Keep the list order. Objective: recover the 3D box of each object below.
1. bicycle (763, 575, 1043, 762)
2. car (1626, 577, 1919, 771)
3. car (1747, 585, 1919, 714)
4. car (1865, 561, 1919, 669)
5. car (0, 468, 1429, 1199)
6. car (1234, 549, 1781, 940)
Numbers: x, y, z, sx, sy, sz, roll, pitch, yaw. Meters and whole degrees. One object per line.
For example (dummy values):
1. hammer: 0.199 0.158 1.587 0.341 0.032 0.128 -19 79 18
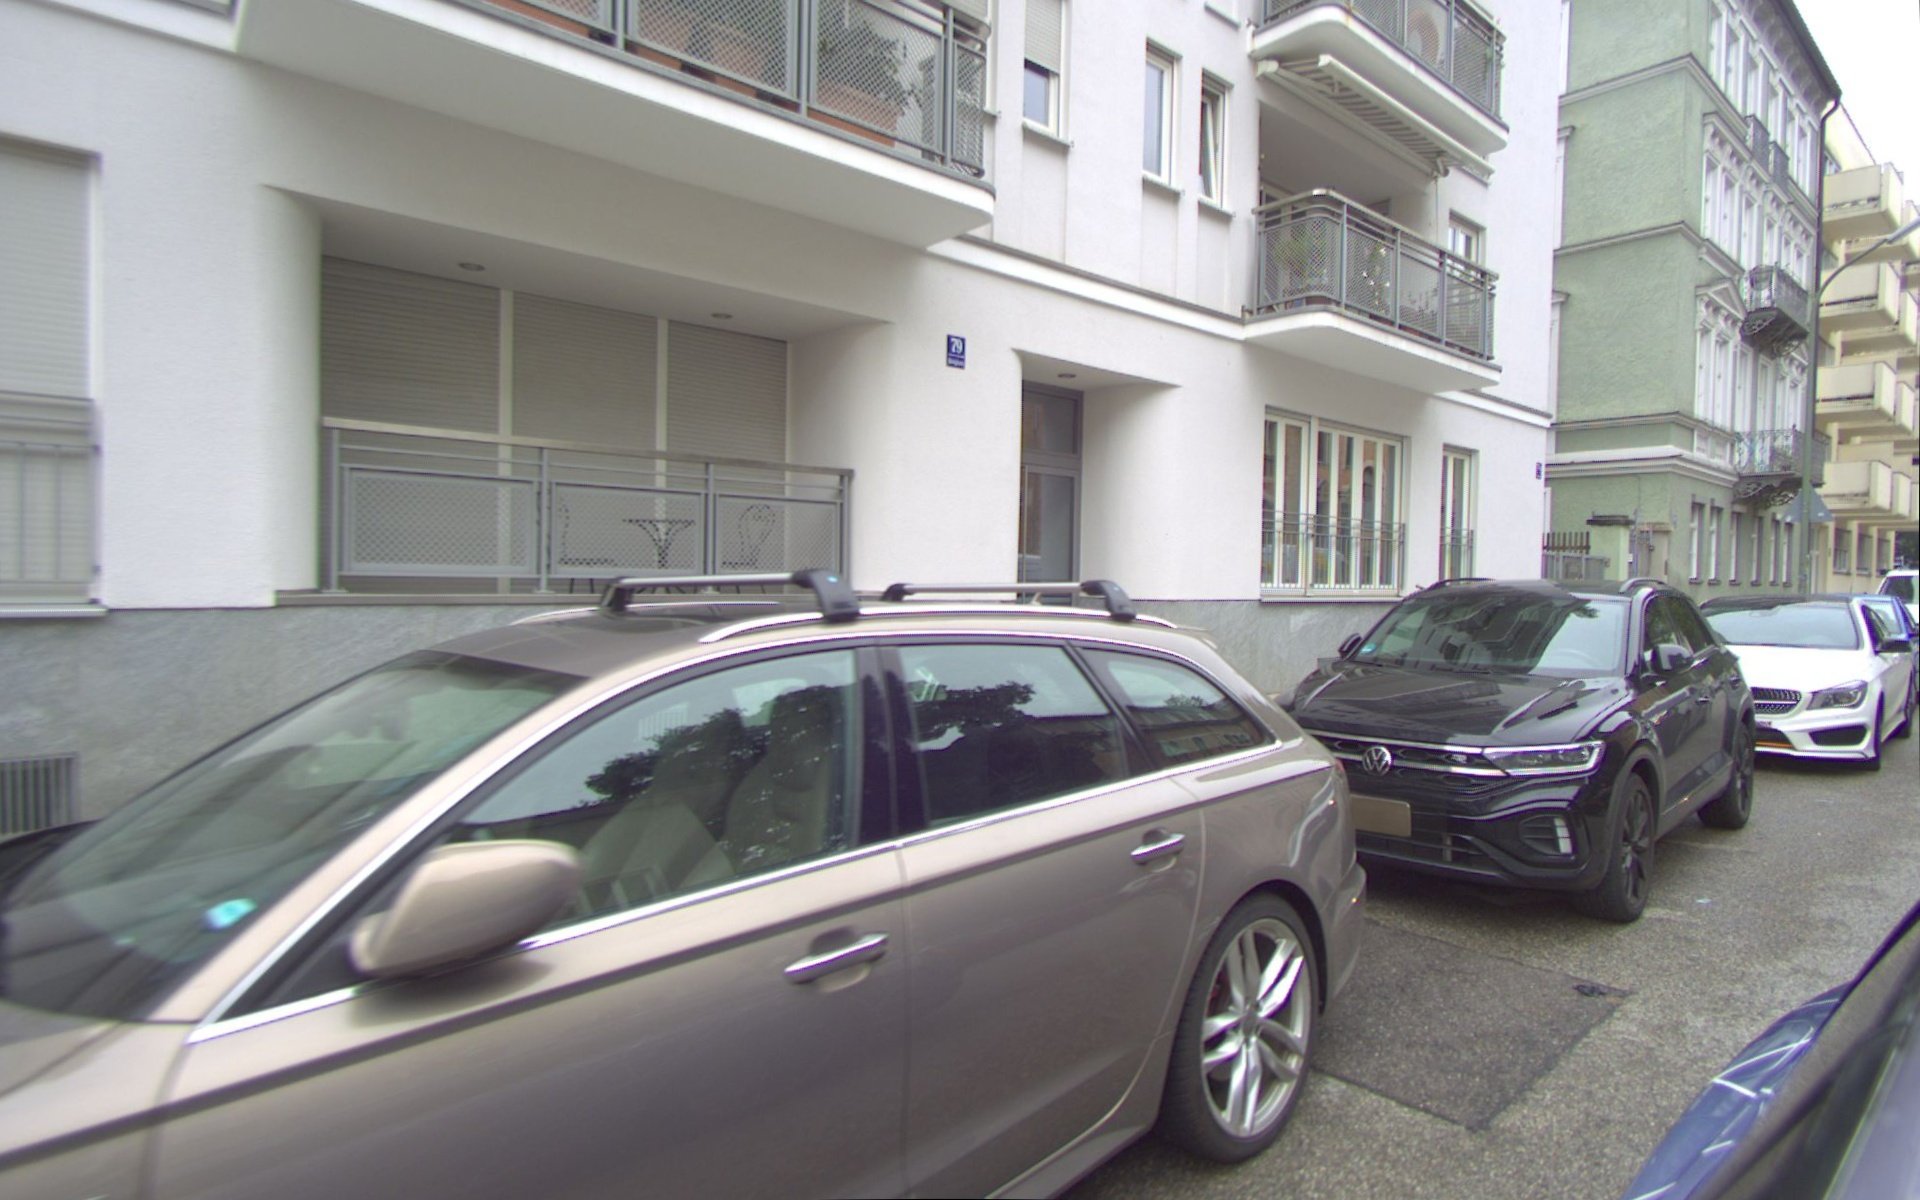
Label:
1. bicycle: -0.349 0.423 7.344 2.091 1.174 0.628 0 2 -43
2. car: 7.932 0.550 9.641 4.134 1.458 1.660 0 0 -42
3. car: 11.498 0.541 13.000 3.493 1.430 1.620 -1 0 -43
4. car: 18.906 0.261 19.241 4.509 1.920 1.857 0 -1 -39
5. car: -0.767 0.642 2.364 4.542 1.550 1.736 0 0 -42
6. car: 3.409 0.567 5.946 3.916 1.550 1.606 0 0 -42
